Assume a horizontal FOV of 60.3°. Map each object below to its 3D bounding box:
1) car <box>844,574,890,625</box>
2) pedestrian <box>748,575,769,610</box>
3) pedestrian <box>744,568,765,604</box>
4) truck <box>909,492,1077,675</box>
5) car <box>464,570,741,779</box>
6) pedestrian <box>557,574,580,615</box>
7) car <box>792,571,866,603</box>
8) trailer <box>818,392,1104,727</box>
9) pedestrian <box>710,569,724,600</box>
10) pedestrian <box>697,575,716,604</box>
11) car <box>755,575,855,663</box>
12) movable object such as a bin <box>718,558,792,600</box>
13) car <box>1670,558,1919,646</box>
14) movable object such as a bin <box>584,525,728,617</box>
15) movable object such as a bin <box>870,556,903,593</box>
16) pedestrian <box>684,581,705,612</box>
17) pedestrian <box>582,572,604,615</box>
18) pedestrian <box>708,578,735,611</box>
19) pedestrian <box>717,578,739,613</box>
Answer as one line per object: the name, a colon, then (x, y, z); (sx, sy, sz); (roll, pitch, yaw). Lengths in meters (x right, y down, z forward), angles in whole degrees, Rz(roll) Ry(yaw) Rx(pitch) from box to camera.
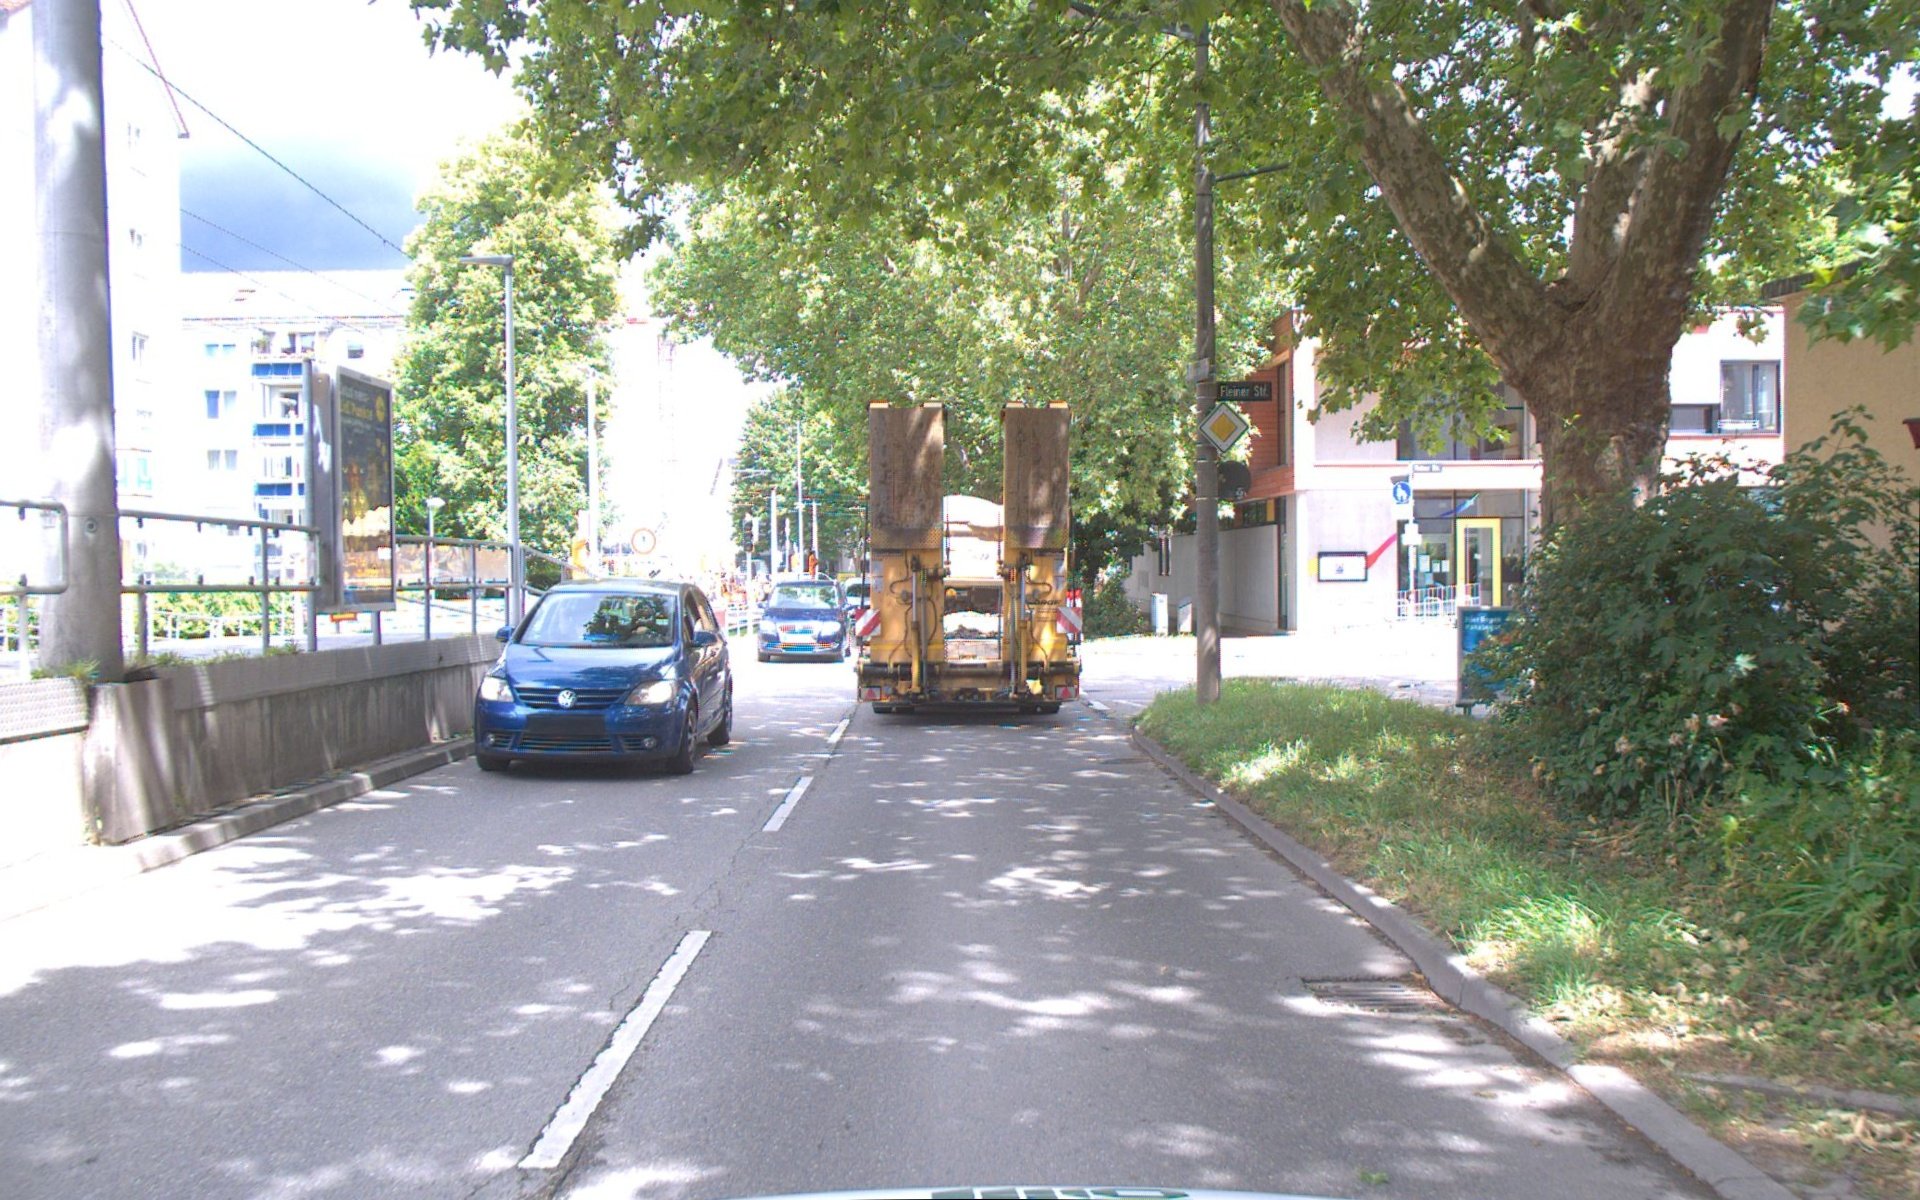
car: (-3.610, 0.004, 64.602); (1.718, 1.873, 4.643); (-1, -1, -3)
pedestrian: (-11.151, -0.427, 91.597); (0.868, 1.900, 0.836); (1, 0, 28)
pedestrian: (-11.012, -0.757, 88.725); (0.876, 1.900, 0.829); (0, 0, -29)
truck: (0.767, -0.324, 32.937); (2.927, 3.190, 7.891); (0, 0, 3)
car: (-2.980, 0.573, 14.550); (1.662, 1.592, 3.860); (0, 0, -1)
pedestrian: (-15.680, -0.232, 66.272); (0.717, 1.654, 0.867); (0, 0, -1)
car: (-9.460, -0.933, 119.509); (5.005, 2.139, 1.969); (1, 0, -15)
trailer: (0.261, -0.482, 23.477); (3.088, 3.614, 11.101); (0, 0, 3)
pedestrian: (-15.164, -0.973, 103.188); (0.820, 1.900, 0.885); (0, 0, -12)
pedestrian: (-14.403, -0.599, 93.983); (0.872, 1.673, 0.832); (0, 0, -20)
car: (-3.136, 0.362, 34.119); (1.718, 1.662, 4.118); (1, 0, -1)
movable object such as a bin: (-13.290, -1.365, 107.160); (4.281, 2.675, 2.218); (0, 0, 26)
car: (16.713, 0.025, 33.201); (4.151, 1.632, 1.889); (-1, 1, -9)
movable object such as a bin: (-18.870, -1.779, 102.521); (9.021, 5.509, 2.662); (0, 0, 26)
movable object such as a bin: (-4.175, -1.447, 94.510); (1.369, 2.049, 2.558); (0, 0, 10)
pedestrian: (-14.536, -0.209, 90.589); (0.876, 1.673, 0.890); (0, 0, -31)
pedestrian: (-14.807, -0.266, 66.694); (0.685, 1.748, 0.867); (0, 0, -1)
pedestrian: (-12.872, -0.288, 89.287); (0.873, 1.745, 1.103); (1, 0, 45)
pedestrian: (-12.259, -0.237, 87.280); (0.867, 1.791, 0.837); (1, 0, 20)
